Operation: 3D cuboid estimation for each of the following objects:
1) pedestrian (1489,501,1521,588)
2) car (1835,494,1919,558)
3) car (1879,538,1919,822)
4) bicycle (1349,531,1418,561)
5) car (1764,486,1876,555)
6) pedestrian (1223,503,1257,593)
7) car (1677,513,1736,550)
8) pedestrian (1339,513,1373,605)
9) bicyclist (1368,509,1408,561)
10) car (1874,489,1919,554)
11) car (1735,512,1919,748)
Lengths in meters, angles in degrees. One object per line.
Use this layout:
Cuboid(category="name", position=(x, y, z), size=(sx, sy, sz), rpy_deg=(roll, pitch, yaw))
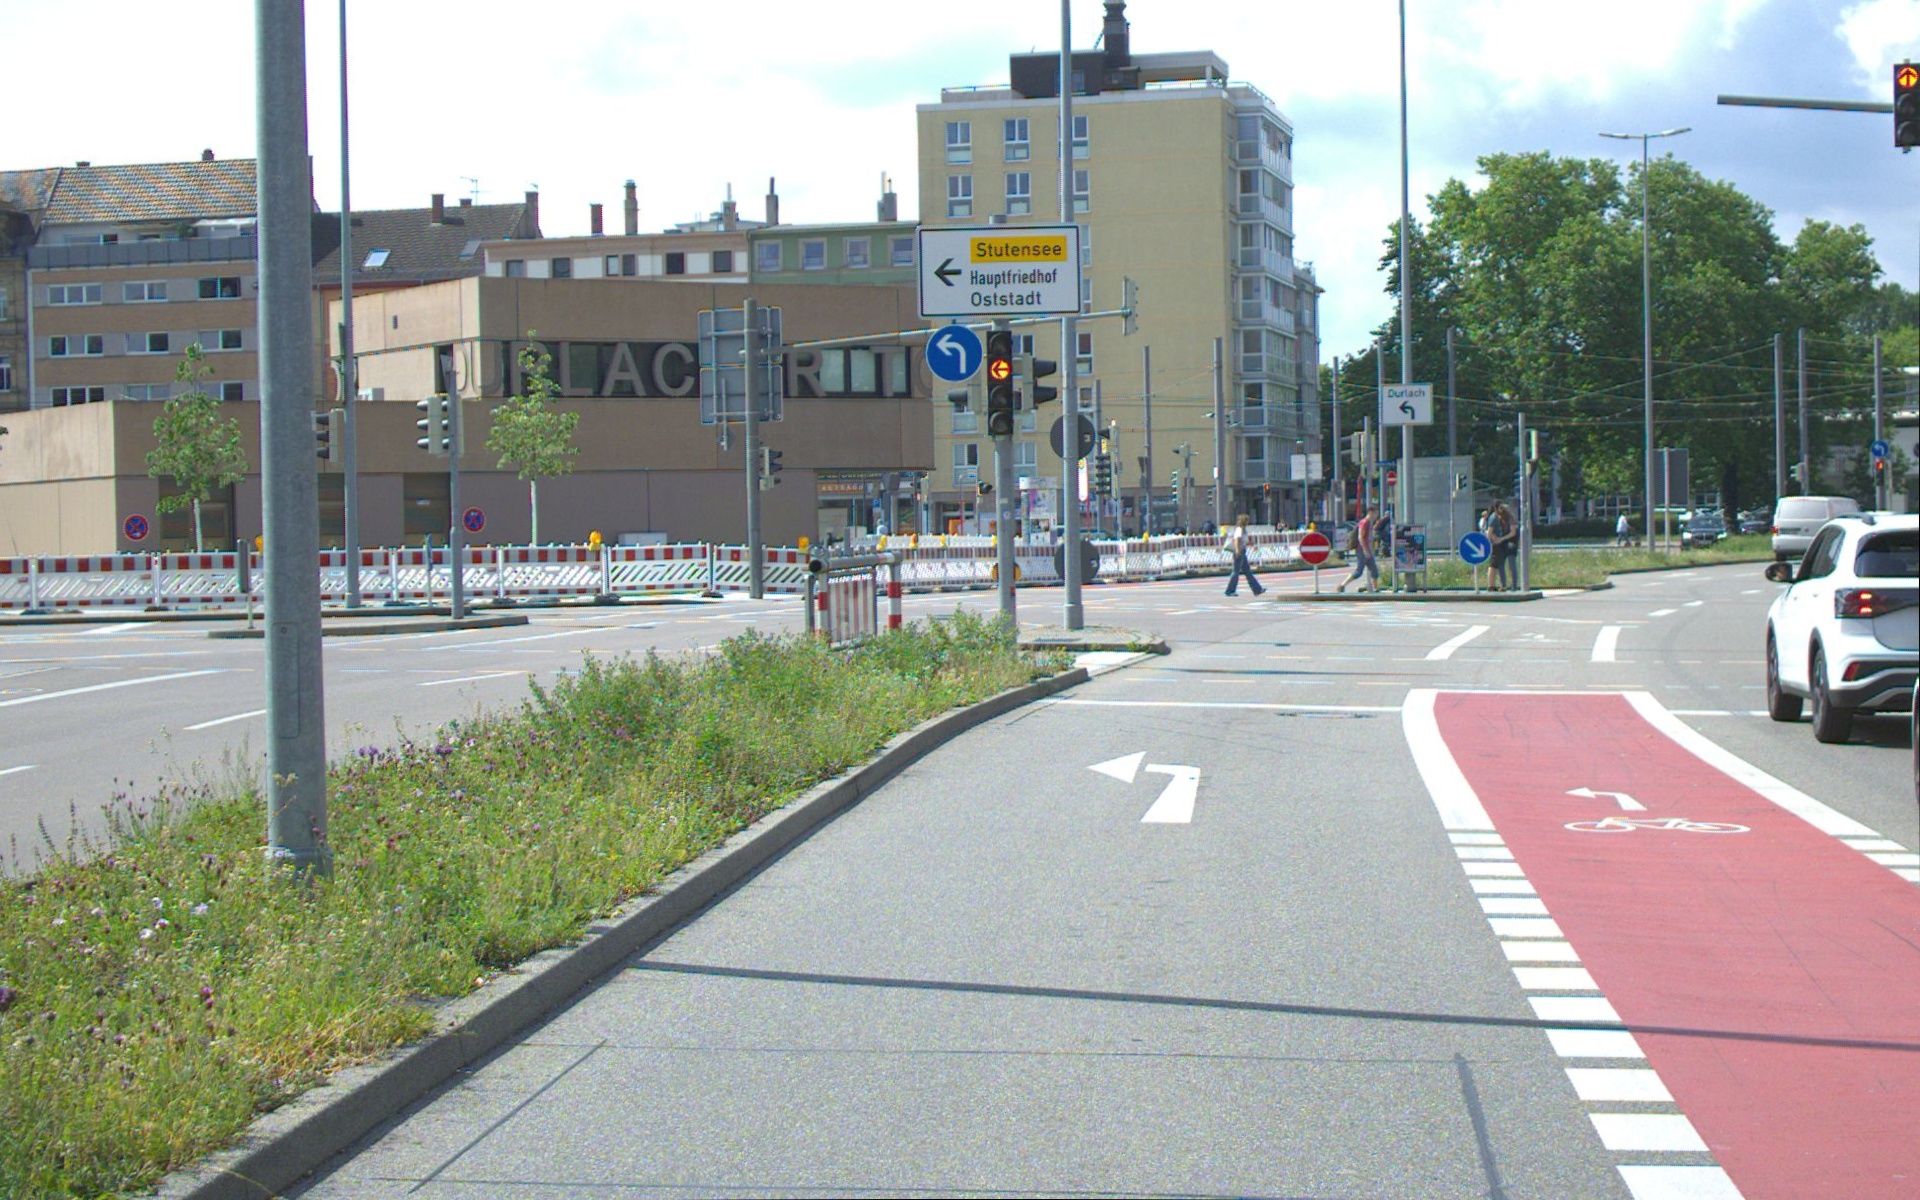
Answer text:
Cuboid(category="pedestrian", position=(10.502, -1.072, 66.256), size=(0.525, 1.678, 0.623), rpy_deg=(-1, 1, 15))
Cuboid(category="car", position=(29.341, -2.355, 108.810), size=(1.995, 1.932, 4.631), rpy_deg=(-1, 1, 29))
Cuboid(category="car", position=(5.670, 0.427, 16.233), size=(1.904, 1.419, 4.384), rpy_deg=(-1, 2, 6))
Cuboid(category="bicycle", position=(15.745, -1.999, 127.871), size=(2.382, 1.063, 0.857), rpy_deg=(0, 1, 26))
Cuboid(category="car", position=(25.350, -2.357, 101.250), size=(2.009, 1.960, 4.631), rpy_deg=(-1, 1, 29))
Cuboid(category="pedestrian", position=(5.451, -1.020, 66.946), size=(0.525, 1.727, 0.623), rpy_deg=(-1, 1, 15))
Cuboid(category="car", position=(28.644, -2.626, 131.898), size=(1.793, 1.383, 4.223), rpy_deg=(0, 1, 18))
Cuboid(category="pedestrian", position=(7.495, -0.780, 65.064), size=(0.525, 1.727, 0.623), rpy_deg=(-1, 1, 15))
Cuboid(category="bicyclist", position=(15.908, -2.418, 127.787), size=(1.221, 1.903, 0.857), rpy_deg=(0, 1, 26))
Cuboid(category="car", position=(27.907, -2.285, 98.992), size=(1.997, 1.820, 3.993), rpy_deg=(-1, 1, 31))
Cuboid(category="car", position=(6.705, 0.153, 24.551), size=(1.791, 1.534, 4.010), rpy_deg=(1, 2, 6))
